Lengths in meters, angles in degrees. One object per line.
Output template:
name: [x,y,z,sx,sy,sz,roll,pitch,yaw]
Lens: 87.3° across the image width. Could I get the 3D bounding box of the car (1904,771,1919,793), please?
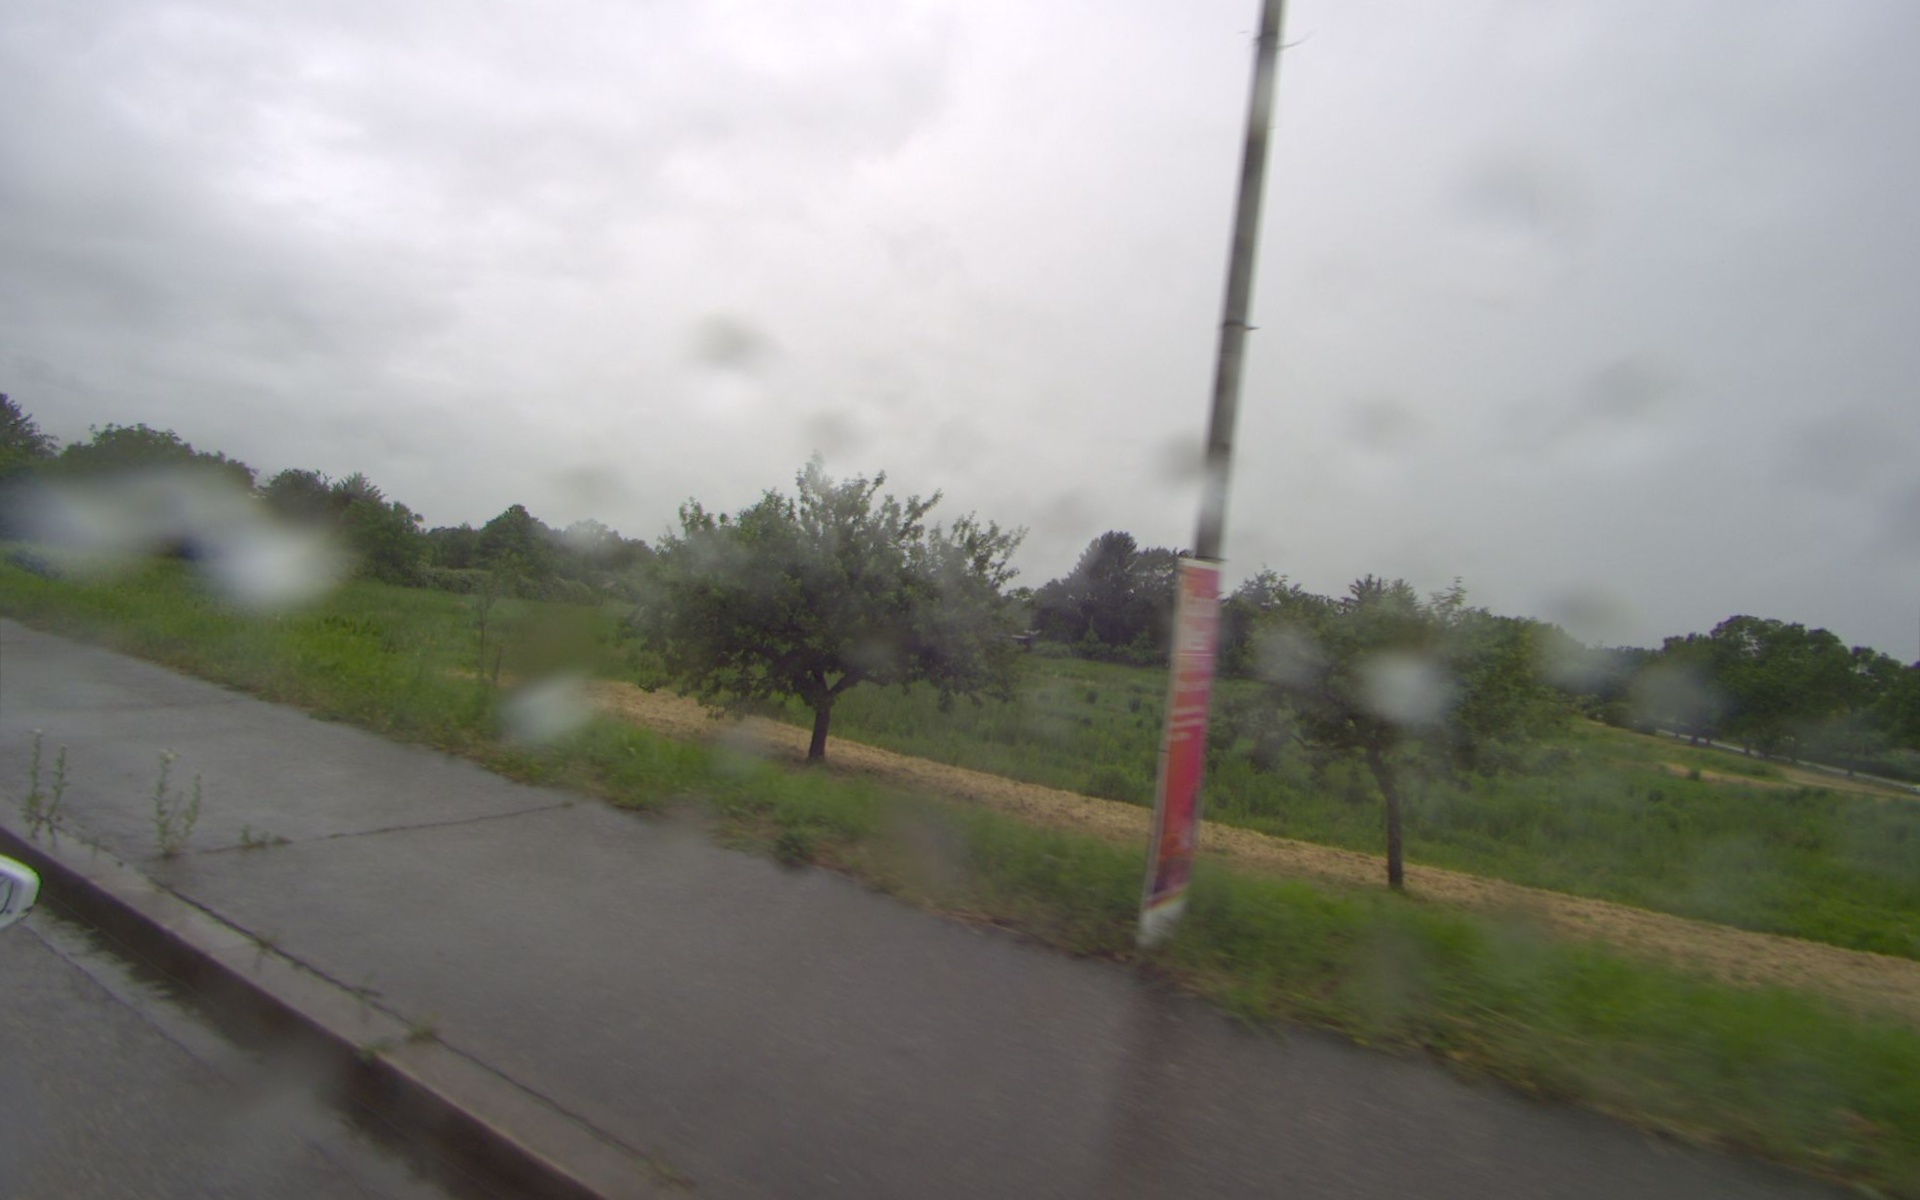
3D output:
car: [78.008,14.769,79.821,4.085,1.527,1.802,7,-2,13]
